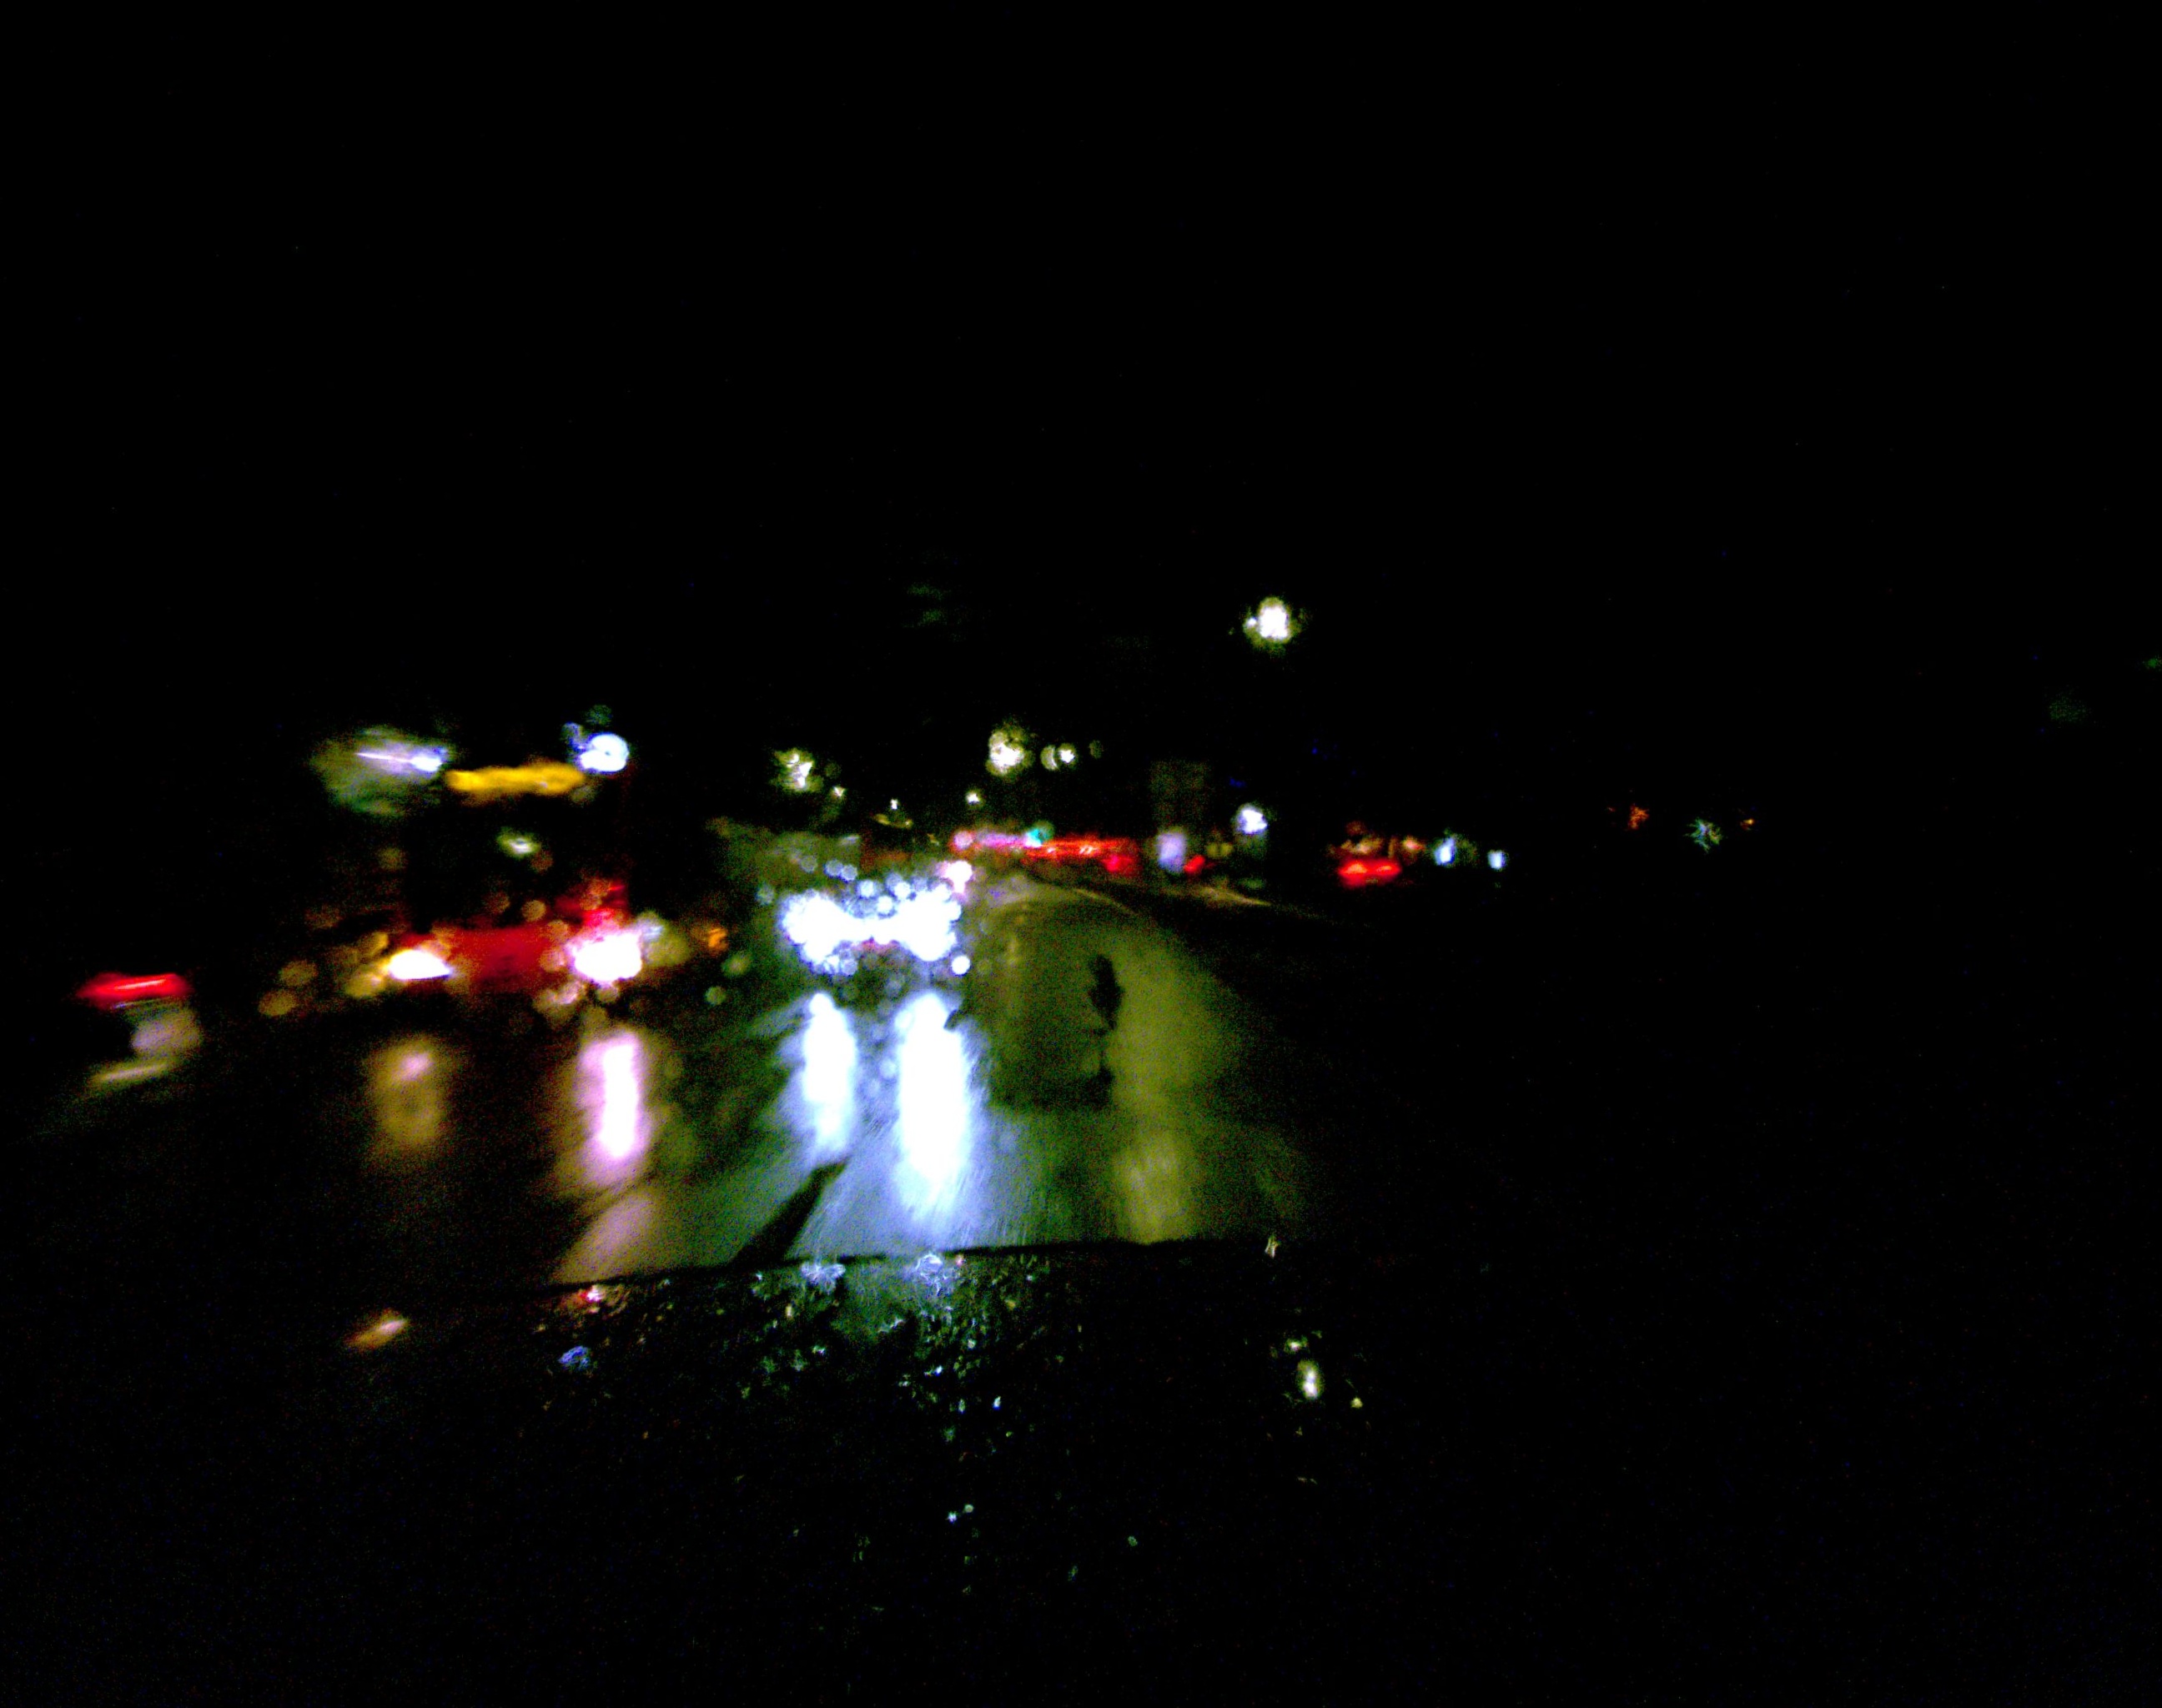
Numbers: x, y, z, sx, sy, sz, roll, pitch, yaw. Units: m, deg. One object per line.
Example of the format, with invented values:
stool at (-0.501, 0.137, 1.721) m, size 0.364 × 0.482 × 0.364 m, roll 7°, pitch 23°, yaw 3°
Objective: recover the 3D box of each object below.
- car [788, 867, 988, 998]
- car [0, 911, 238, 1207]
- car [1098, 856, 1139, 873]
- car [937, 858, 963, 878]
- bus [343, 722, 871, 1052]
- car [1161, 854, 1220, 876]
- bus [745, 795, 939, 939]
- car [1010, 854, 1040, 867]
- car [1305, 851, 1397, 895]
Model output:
car at (-2.745, 1.049, 11.841) m, size 1.724 × 1.478 × 4.163 m, roll -5°, pitch 0°, yaw 3°
car at (-6.567, 1.129, 3.050) m, size 1.724 × 1.478 × 4.162 m, roll 0°, pitch 0°, yaw 0°
car at (3.247, 0.887, 66.996) m, size 1.903 × 1.381 × 4.833 m, roll -2°, pitch 0°, yaw -19°
car at (-10.234, 1.075, 59.296) m, size 1.612 × 1.438 × 3.968 m, roll 0°, pitch 0°, yaw -16°
bus at (-6.112, 0.316, 12.539) m, size 2.741 × 3.258 × 9.698 m, roll -2°, pitch 0°, yaw -1°
car at (7.507, 0.730, 52.535) m, size 1.903 × 1.381 × 4.603 m, roll -2°, pitch 0°, yaw -22°
bus at (-6.369, 0.281, 22.260) m, size 2.741 × 3.219 × 9.698 m, roll -2°, pitch 0°, yaw -1°
car at (-6.510, 0.722, 87.274) m, size 1.903 × 1.381 × 4.831 m, roll -2°, pitch 0°, yaw -24°
car at (10.260, 0.663, 29.198) m, size 1.601 × 1.527 × 4.309 m, roll -2°, pitch 0°, yaw -6°
